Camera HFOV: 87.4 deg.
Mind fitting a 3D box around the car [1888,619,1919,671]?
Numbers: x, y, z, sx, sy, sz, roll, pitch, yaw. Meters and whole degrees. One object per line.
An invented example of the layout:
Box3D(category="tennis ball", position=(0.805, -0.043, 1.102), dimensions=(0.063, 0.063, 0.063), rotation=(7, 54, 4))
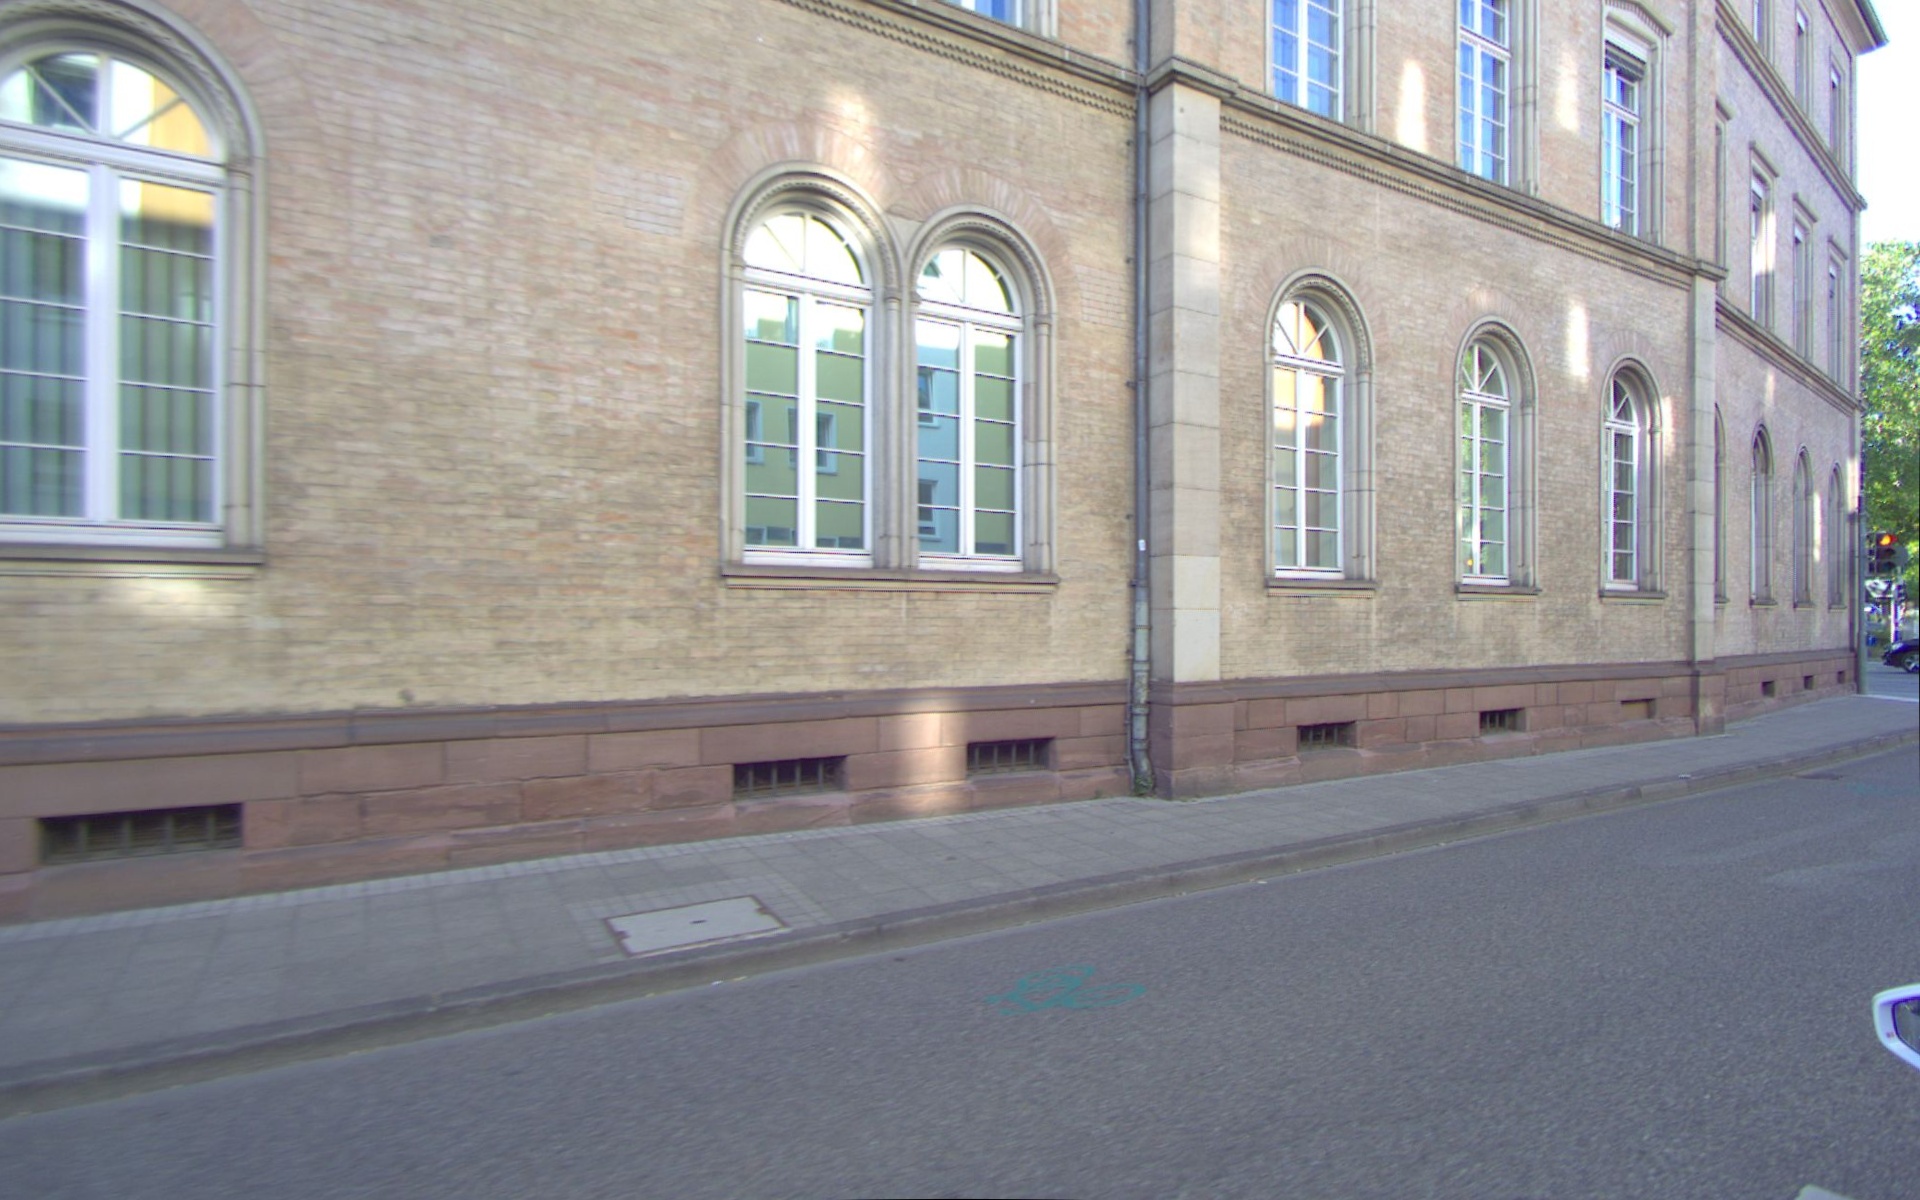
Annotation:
Box3D(category="car", position=(29.671, 1.326, 29.038), dimensions=(1.851, 1.546, 3.958), rotation=(1, -1, -37))

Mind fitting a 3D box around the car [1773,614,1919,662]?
Box3D(category="car", position=(35.042, 1.463, 39.765), dimensions=(1.890, 1.801, 4.188), rotation=(1, -1, -40))
